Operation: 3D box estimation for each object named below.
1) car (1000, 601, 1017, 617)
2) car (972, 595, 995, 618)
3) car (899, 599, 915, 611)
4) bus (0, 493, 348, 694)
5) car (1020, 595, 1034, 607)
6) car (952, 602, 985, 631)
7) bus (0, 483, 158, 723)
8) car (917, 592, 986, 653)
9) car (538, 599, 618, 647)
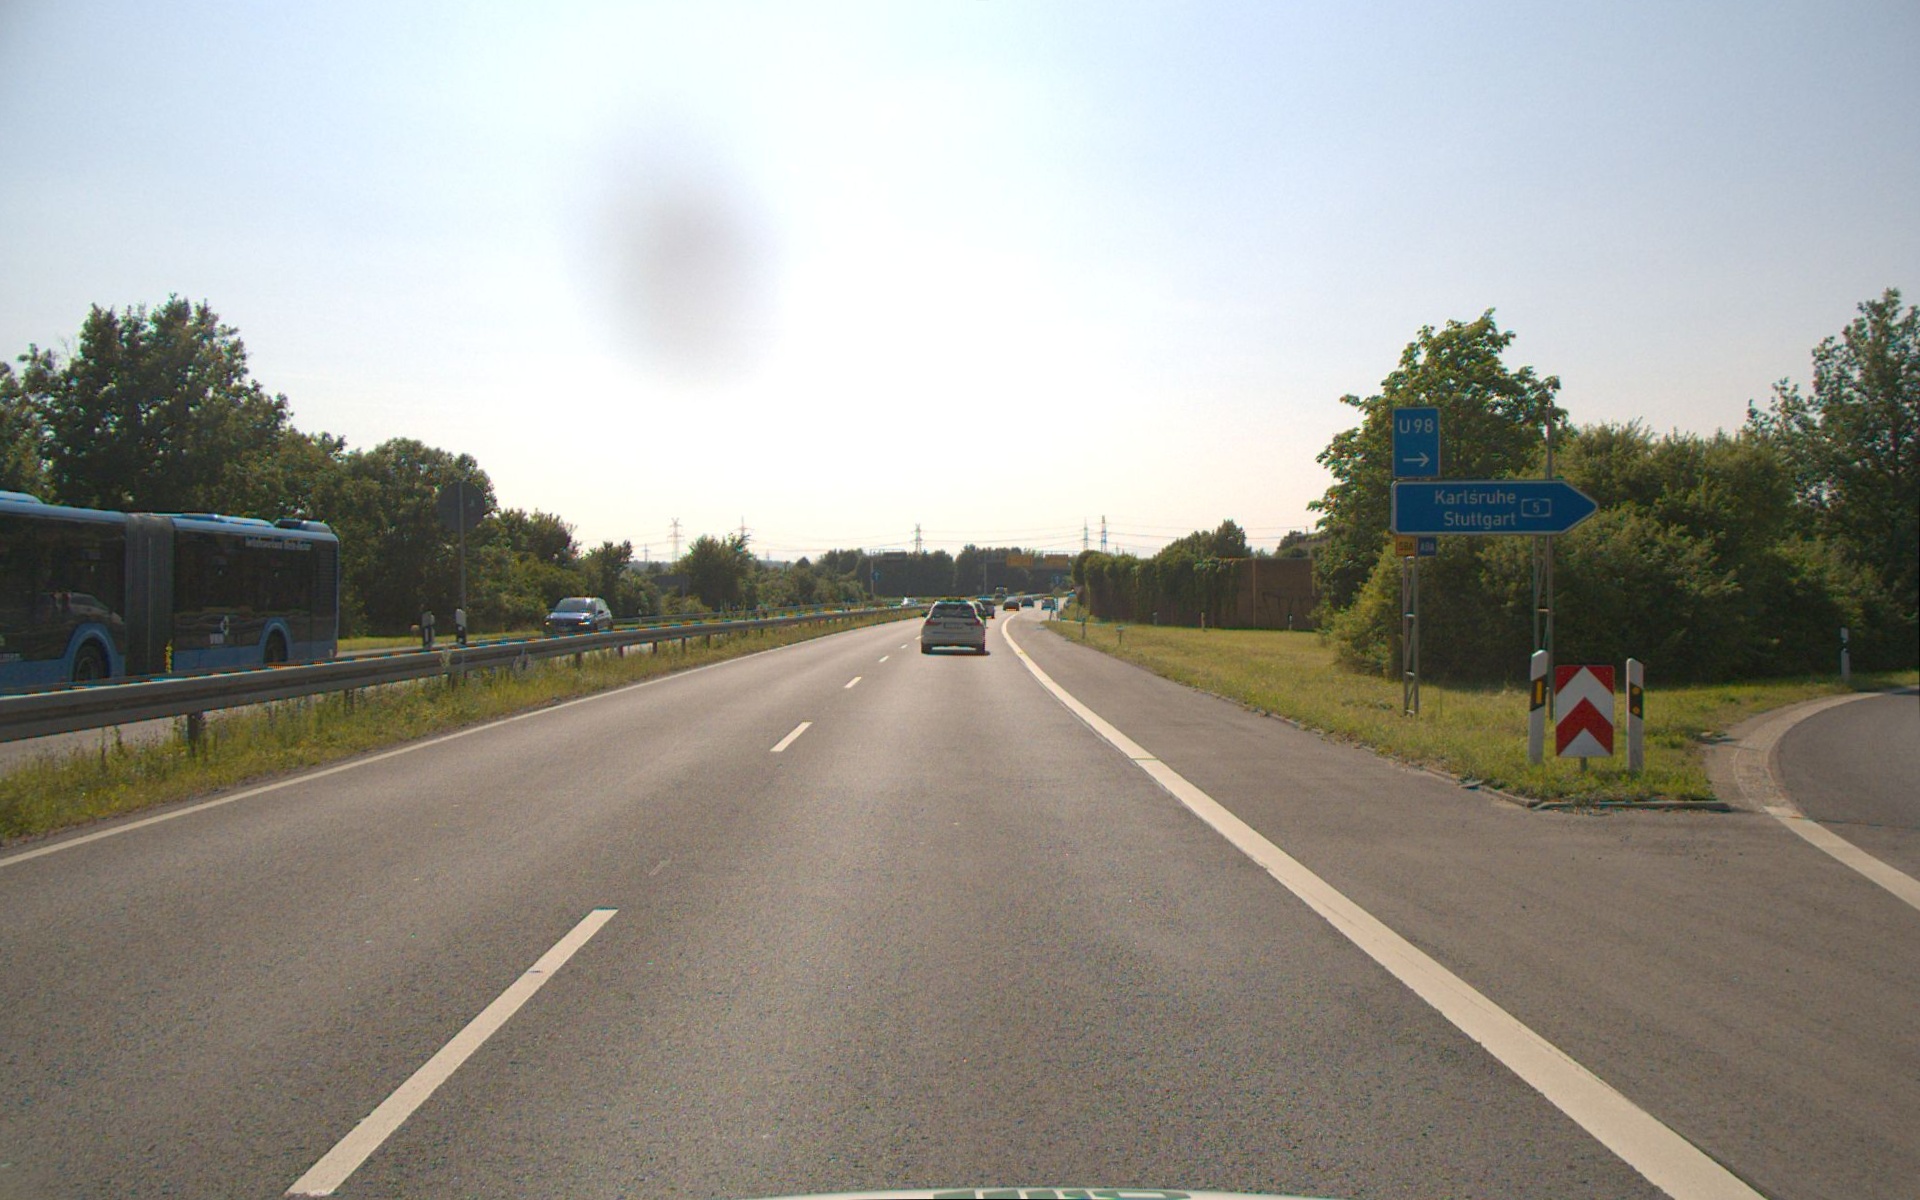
[{"bbox_3d":[5.729,1.069,195.181,1.802,1.834,4.002,0,0,4],"label":"car"},{"bbox_3d":[1.928,0.523,134.594,1.732,1.767,3.633,0,0,3],"label":"car"},{"bbox_3d":[-6.647,0.636,208.158,1.772,1.375,4.275,1,1,1],"label":"car"},{"bbox_3d":[-14.127,-0.132,30.453,2.670,3.164,8.392,-1,0,-1],"label":"bus"},{"bbox_3d":[9.457,0.142,233.964,1.802,1.728,4.002,0,0,4],"label":"car"},{"bbox_3d":[0.480,0.886,92.128,1.756,1.570,3.672,0,0,1],"label":"car"},{"bbox_3d":[-13.982,0.052,21.295,2.670,3.164,9.833,-1,0,-1],"label":"bus"},{"bbox_3d":[-0.279,0.611,48.272,1.918,1.629,4.106,1,1,-1],"label":"car"},{"bbox_3d":[-14.138,0.827,61.407,1.953,1.633,4.274,1,1,0],"label":"car"}]
